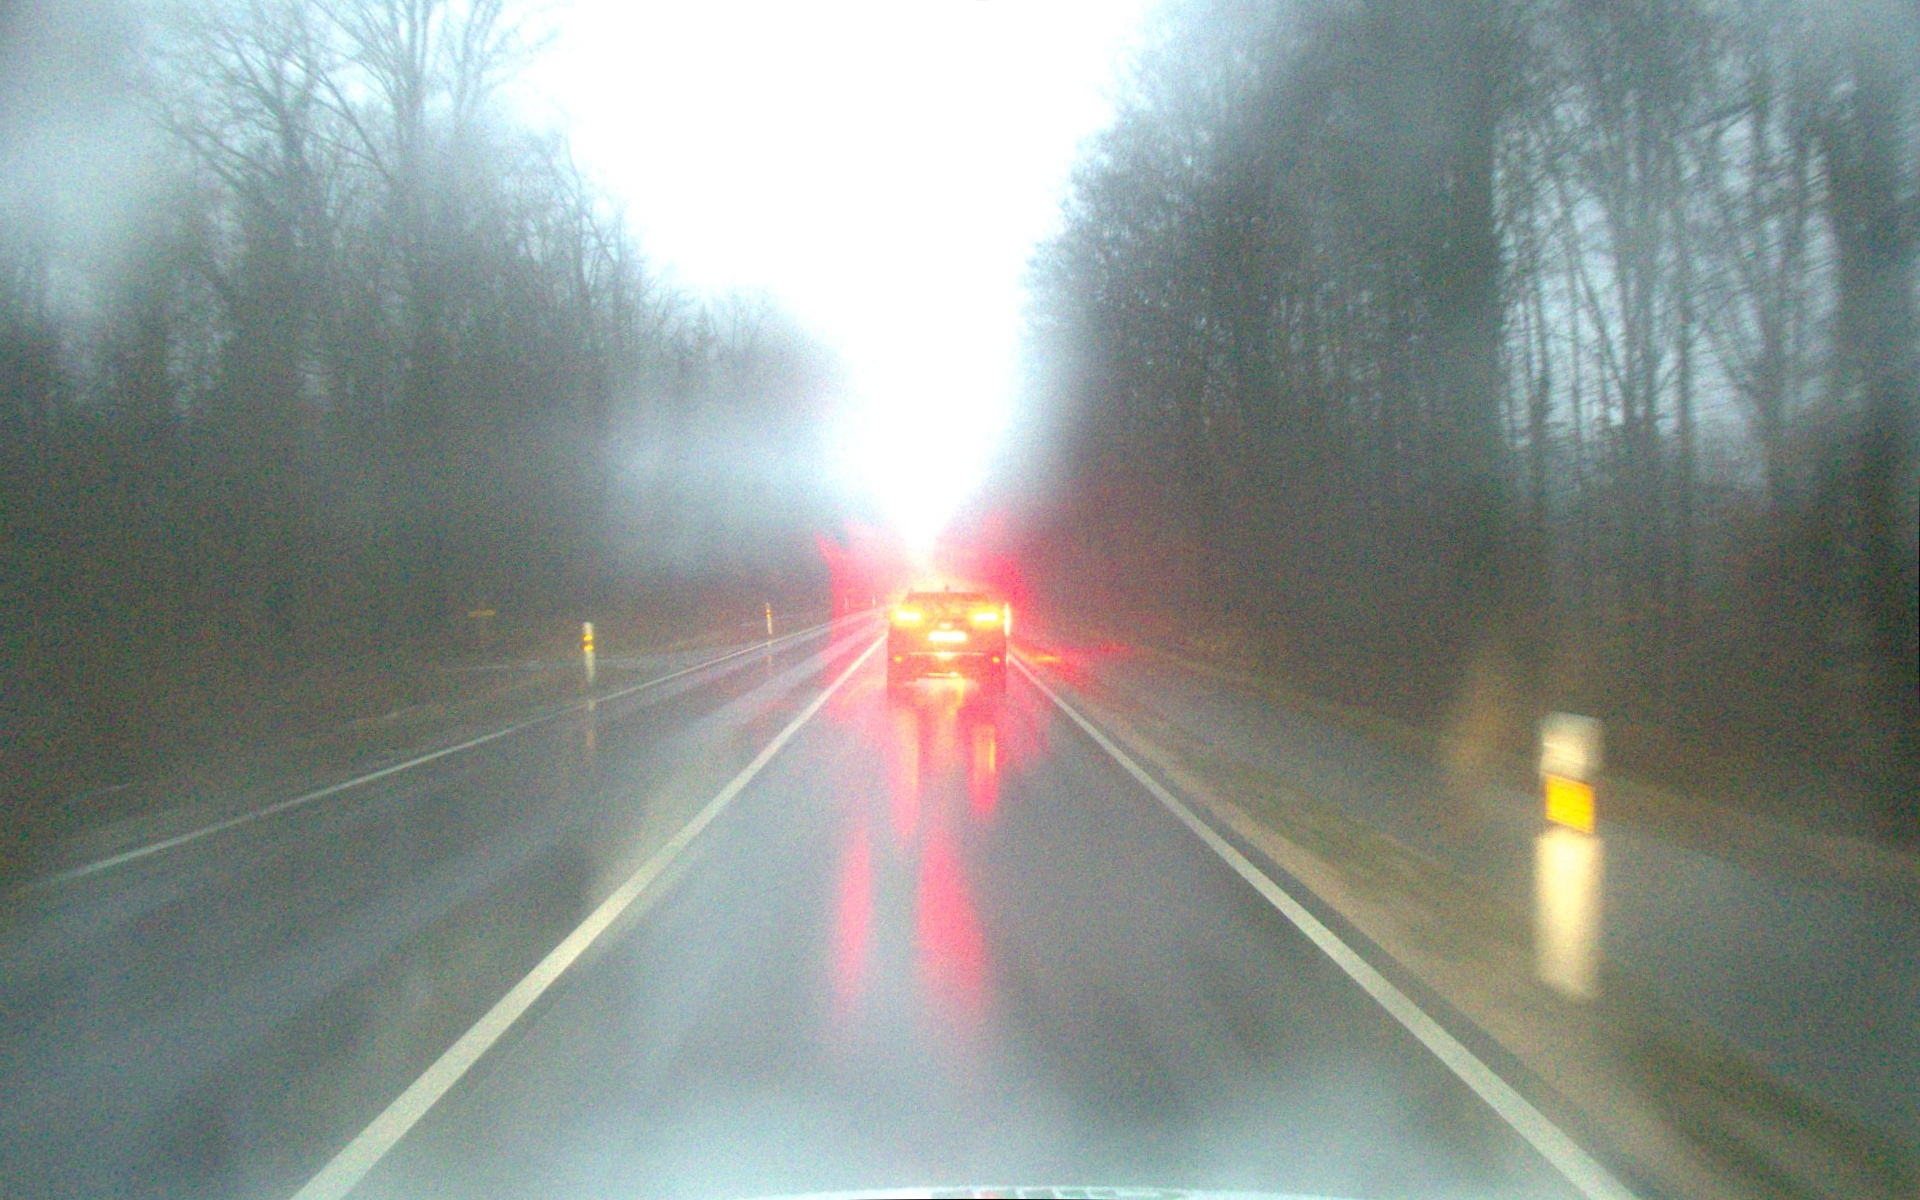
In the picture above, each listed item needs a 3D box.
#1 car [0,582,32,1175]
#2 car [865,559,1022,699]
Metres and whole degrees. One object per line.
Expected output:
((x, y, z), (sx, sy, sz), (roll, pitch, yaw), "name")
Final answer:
((-3.266, 0.751, 2.435), (1.566, 1.522, 3.894), (-2, 0, 0), "car")
((-0.284, 0.393, 25.446), (2.153, 1.910, 4.826), (1, 0, -1), "car")
